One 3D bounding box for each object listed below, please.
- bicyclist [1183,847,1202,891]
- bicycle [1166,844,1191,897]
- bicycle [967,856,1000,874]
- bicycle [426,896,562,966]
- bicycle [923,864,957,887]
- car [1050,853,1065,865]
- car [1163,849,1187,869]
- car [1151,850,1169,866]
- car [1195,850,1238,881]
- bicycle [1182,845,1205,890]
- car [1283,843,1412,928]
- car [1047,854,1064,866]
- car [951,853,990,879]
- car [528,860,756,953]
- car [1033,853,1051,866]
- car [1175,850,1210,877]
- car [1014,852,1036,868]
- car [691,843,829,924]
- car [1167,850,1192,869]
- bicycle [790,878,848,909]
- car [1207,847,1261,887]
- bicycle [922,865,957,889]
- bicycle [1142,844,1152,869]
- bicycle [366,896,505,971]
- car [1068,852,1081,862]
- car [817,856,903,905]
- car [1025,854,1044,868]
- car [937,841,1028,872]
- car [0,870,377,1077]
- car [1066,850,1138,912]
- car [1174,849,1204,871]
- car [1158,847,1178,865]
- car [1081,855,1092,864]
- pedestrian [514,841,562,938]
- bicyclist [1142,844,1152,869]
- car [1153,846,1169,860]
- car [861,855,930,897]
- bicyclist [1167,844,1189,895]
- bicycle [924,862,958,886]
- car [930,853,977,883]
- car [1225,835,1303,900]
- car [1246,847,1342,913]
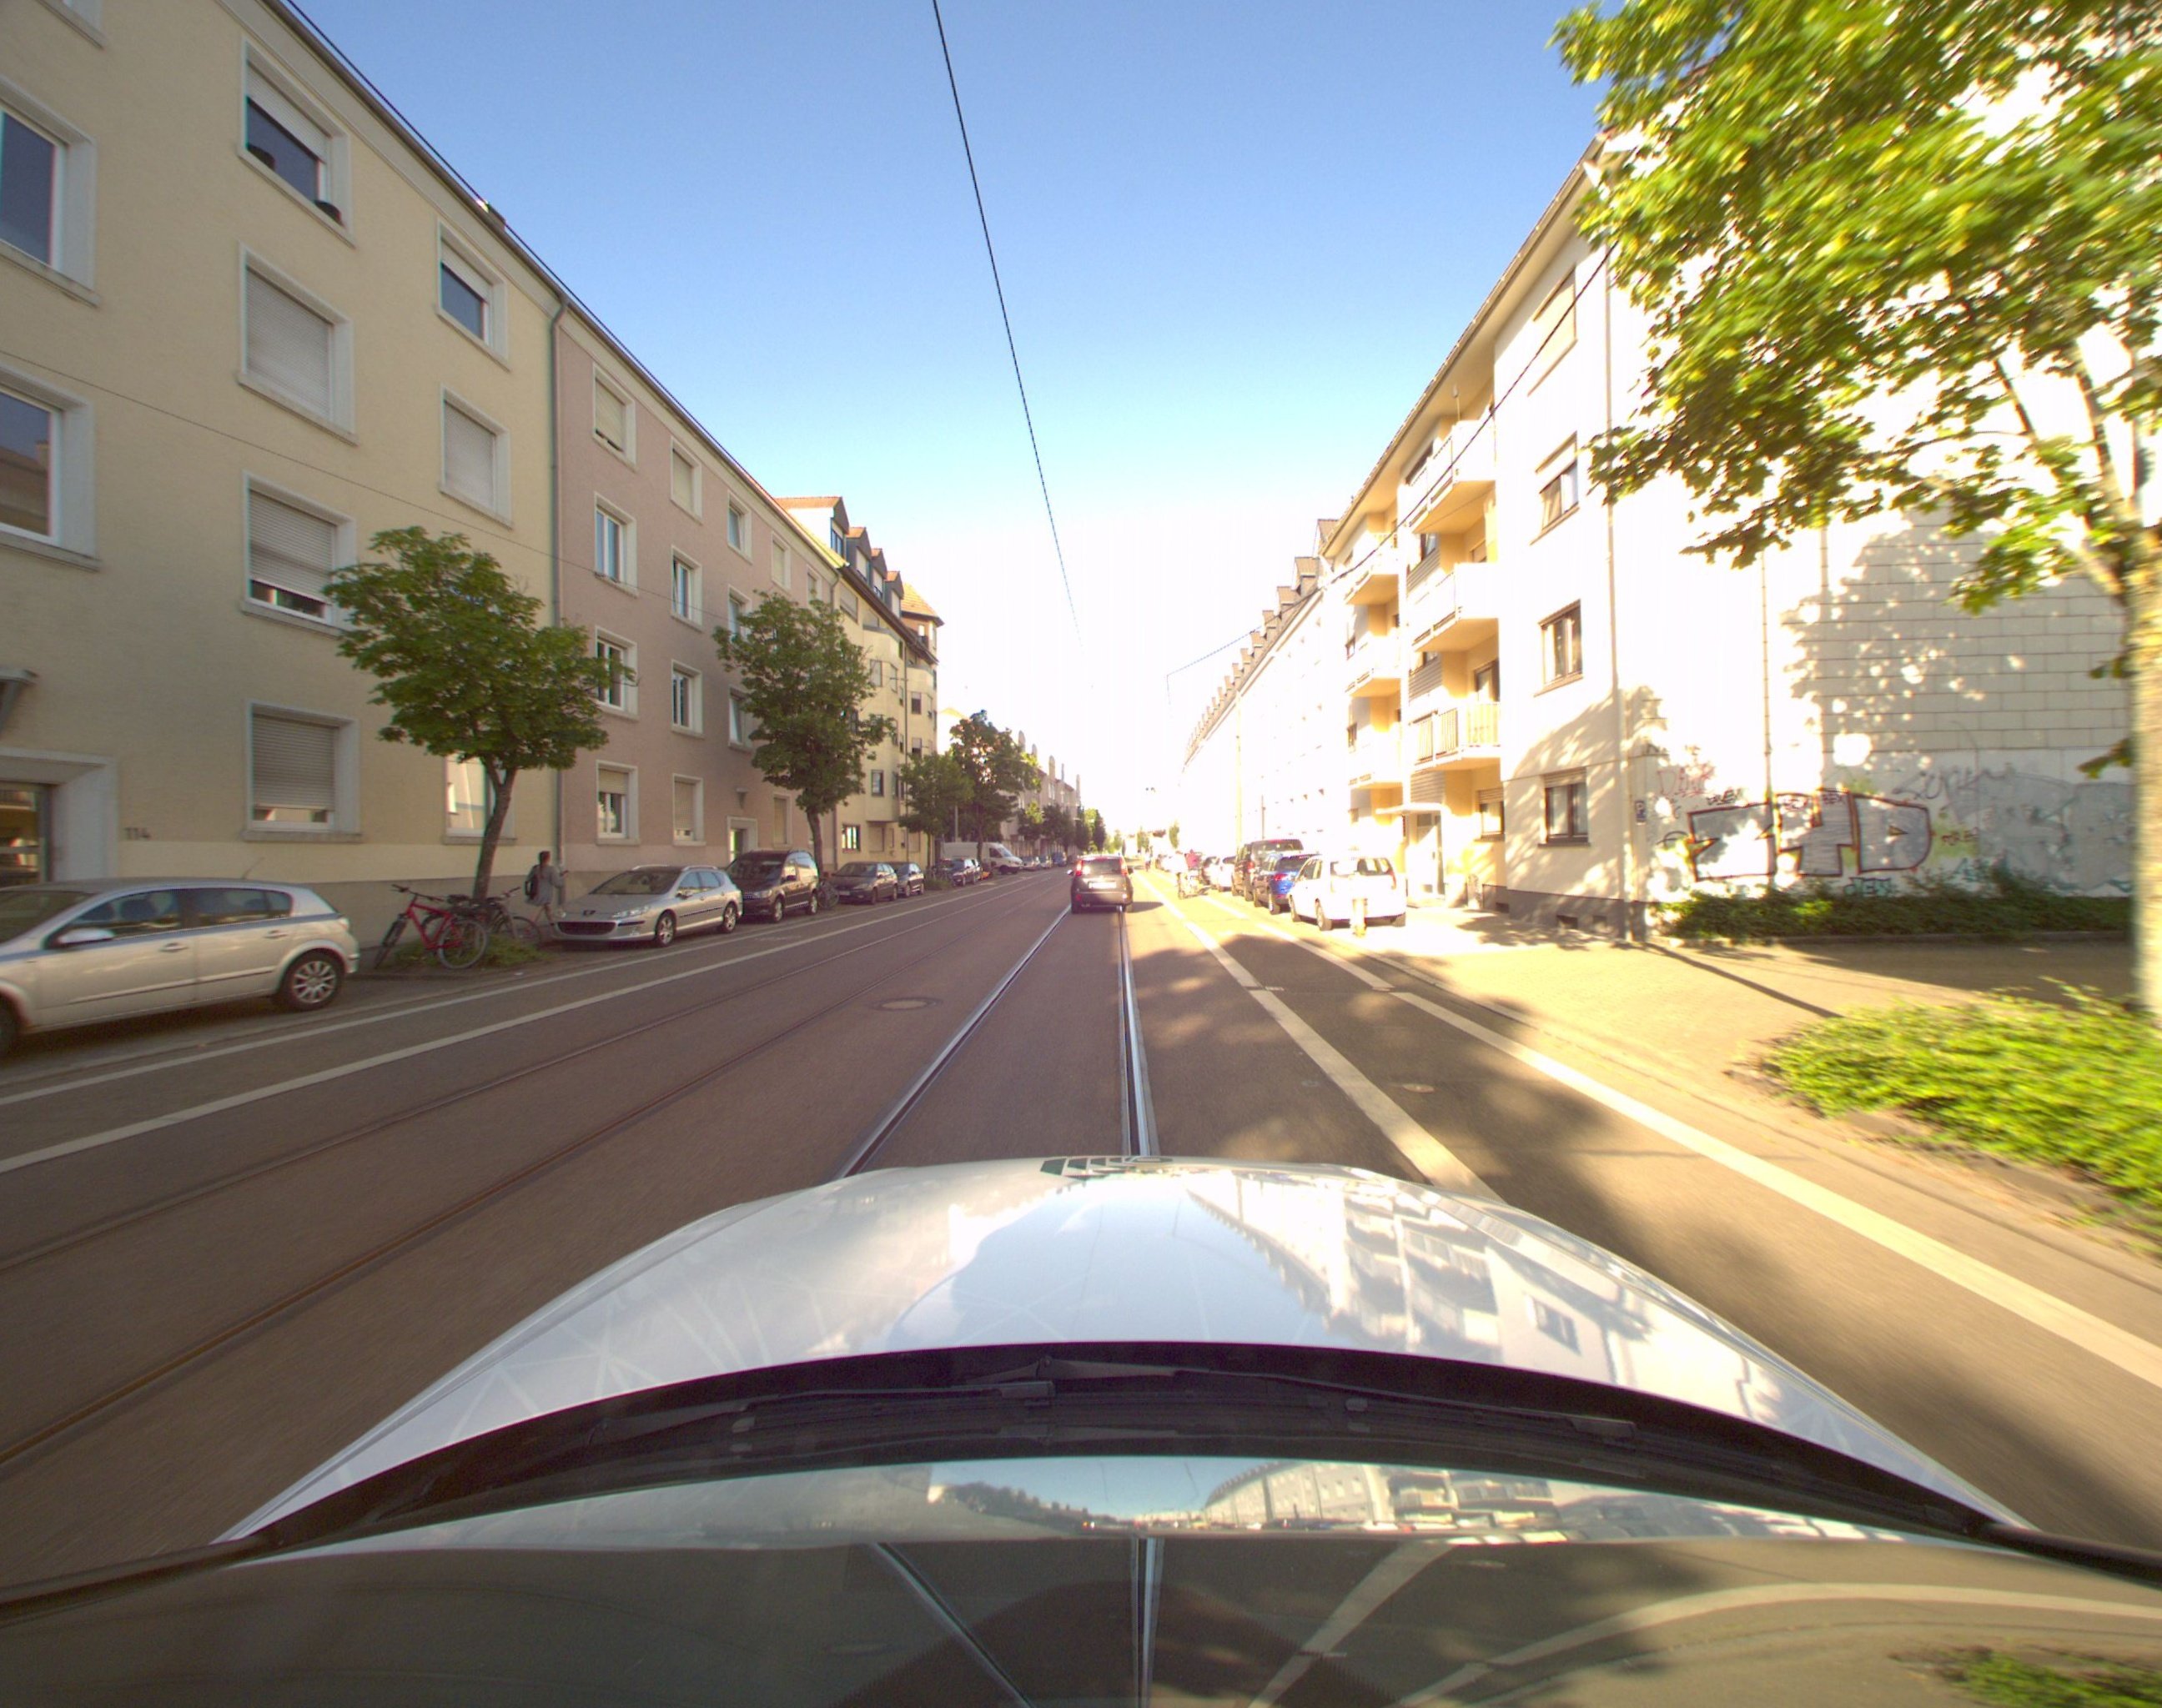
[{"bbox_3d":[4.446,0.588,32.499,0.696,1.759,0.758,0,0,1],"label":"bicyclist"},{"bbox_3d":[3.365,0.549,28.340,0.672,1.747,2.158,0,0,2],"label":"bicycle"},{"bbox_3d":[-7.060,0.811,59.108,2.270,1.288,0.757,0,0,-3],"label":"bicycle"},{"bbox_3d":[-9.073,1.182,12.631,1.666,1.001,0.475,0,0,-9],"label":"bicycle"},{"bbox_3d":[-7.287,1.099,42.122,1.724,1.196,0.372,0,0,-2],"label":"bicycle"},{"bbox_3d":[-3.078,0.687,107.748,1.699,1.496,3.725,0,0,3],"label":"car"},{"bbox_3d":[7.592,0.403,66.005,1.577,1.599,3.378,0,0,2],"label":"car"},{"bbox_3d":[8.183,0.407,84.565,1.577,1.599,3.378,0,0,2],"label":"car"},{"bbox_3d":[6.424,0.503,38.927,1.577,1.405,3.378,0,0,2],"label":"car"},{"bbox_3d":[4.474,0.524,32.456,0.672,1.747,2.158,0,0,2],"label":"bicycle"},{"bbox_3d":[5.402,0.578,16.942,1.649,1.571,3.501,0,0,2],"label":"car"},{"bbox_3d":[-3.193,0.720,102.698,1.699,1.496,3.725,0,0,3],"label":"car"},{"bbox_3d":[-6.789,0.730,50.371,1.828,1.556,3.378,0,0,1],"label":"car"},{"bbox_3d":[-8.349,0.909,16.086,1.801,1.508,4.683,0,0,2],"label":"car"},{"bbox_3d":[-4.441,0.590,93.661,1.699,1.496,3.725,0,0,3],"label":"car"},{"bbox_3d":[6.466,0.523,47.634,1.577,1.405,3.378,-5,0,2],"label":"car"},{"bbox_3d":[-5.402,0.595,79.390,1.699,1.496,3.725,0,0,3],"label":"car"},{"bbox_3d":[-8.363,0.692,21.690,1.801,1.943,4.336,0,0,2],"label":"car"},{"bbox_3d":[7.419,0.390,61.567,1.577,1.405,3.378,0,0,2],"label":"car"},{"bbox_3d":[-8.154,1.218,25.332,1.627,0.937,0.517,0,0,-2],"label":"bicycle"},{"bbox_3d":[5.951,0.493,32.008,1.649,1.500,3.131,0,0,2],"label":"car"},{"bbox_3d":[-7.253,1.159,41.725,1.724,1.196,0.372,0,0,-2],"label":"bicycle"},{"bbox_3d":[5.471,0.229,67.611,0.739,2.013,2.813,0,0,2],"label":"bicycle"},{"bbox_3d":[-9.091,1.108,11.491,1.658,1.001,0.477,0,0,5],"label":"bicycle"},{"bbox_3d":[-0.914,0.451,123.516,1.699,1.496,3.725,0,0,3],"label":"car"},{"bbox_3d":[-7.801,0.881,29.129,1.801,1.619,4.067,0,0,2],"label":"car"},{"bbox_3d":[-5.062,0.771,88.845,1.699,1.496,3.725,0,0,3],"label":"car"},{"bbox_3d":[-7.847,0.192,64.704,6.847,2.403,2.185,0,0,17],"label":"car"},{"bbox_3d":[-9.077,0.945,7.285,1.801,1.508,4.193,0,0,2],"label":"car"},{"bbox_3d":[0.671,0.669,22.524,1.642,1.541,4.241,0,0,6],"label":"car"},{"bbox_3d":[7.025,0.373,53.091,1.577,1.405,3.378,0,0,2],"label":"car"},{"bbox_3d":[7.831,0.178,73.557,1.577,1.599,3.378,0,0,2],"label":"car"},{"bbox_3d":[0.886,0.853,135.011,1.699,1.496,3.725,0,0,3],"label":"car"},{"bbox_3d":[-10.320,0.664,15.502,0.534,1.826,0.543,0,0,2],"label":"pedestrian"},{"bbox_3d":[5.471,0.201,67.540,0.712,2.013,0.832,0,0,1],"label":"bicyclist"},{"bbox_3d":[9.193,-0.074,93.892,1.577,1.599,3.378,0,0,2],"label":"car"},{"bbox_3d":[-7.723,0.866,34.262,1.801,1.619,4.067,0,0,2],"label":"car"},{"bbox_3d":[3.364,0.524,28.335,0.696,1.759,0.758,0,0,1],"label":"bicyclist"},{"bbox_3d":[-7.313,1.048,42.538,1.724,1.196,0.372,0,0,-2],"label":"bicycle"},{"bbox_3d":[-6.979,0.744,44.971,1.828,1.556,4.001,0,0,2],"label":"car"},{"bbox_3d":[5.889,0.403,26.687,1.649,1.944,4.667,0,0,2],"label":"car"},{"bbox_3d":[5.508,0.611,21.508,1.649,1.571,3.878,0,0,2],"label":"car"}]
